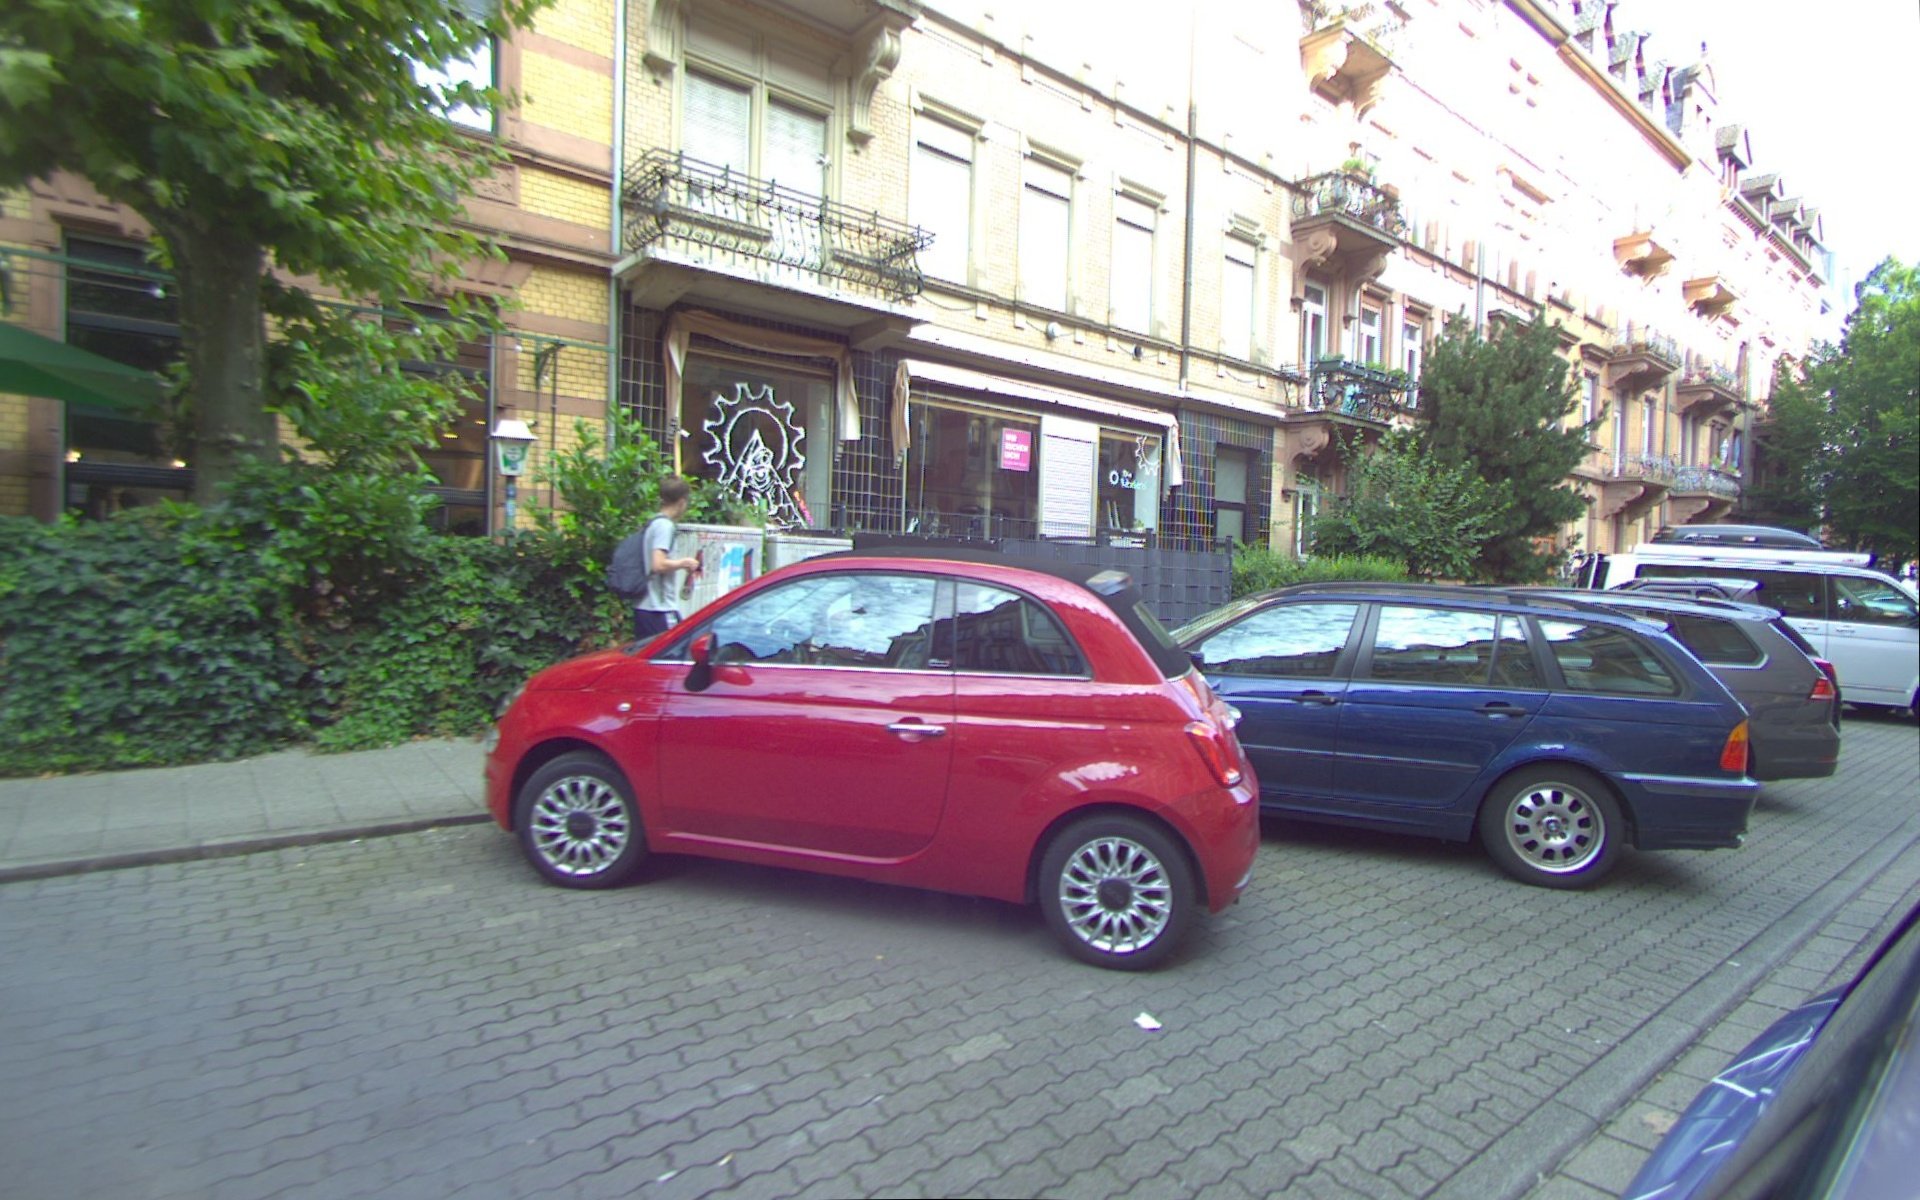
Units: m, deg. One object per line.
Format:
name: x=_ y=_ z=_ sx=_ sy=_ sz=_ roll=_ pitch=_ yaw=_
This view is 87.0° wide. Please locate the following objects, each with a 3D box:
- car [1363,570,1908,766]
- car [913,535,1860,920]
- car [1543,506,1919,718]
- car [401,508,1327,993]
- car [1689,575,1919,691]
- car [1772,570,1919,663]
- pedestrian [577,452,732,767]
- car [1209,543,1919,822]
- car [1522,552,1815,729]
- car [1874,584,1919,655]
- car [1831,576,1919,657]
car: x=6.231 y=0.544 z=9.832 sx=3.931 sy=1.477 sz=1.746 roll=3 pitch=2 yaw=10
car: x=2.133 y=0.517 z=6.089 sx=4.409 sy=1.482 sz=1.870 roll=5 pitch=2 yaw=17
car: x=10.800 y=0.111 z=13.235 sx=5.093 sy=2.434 sz=1.907 roll=3 pitch=2 yaw=19
car: x=-0.385 y=0.456 z=4.717 sx=3.665 sy=1.503 sz=1.734 roll=4 pitch=2 yaw=14
car: x=15.079 y=0.529 z=16.764 sx=4.396 sy=1.754 sz=1.990 roll=2 pitch=0 yaw=17
car: x=20.868 y=0.445 z=22.017 sx=1.777 sy=1.806 sz=4.650 roll=3 pitch=3 yaw=-40
pedestrian: x=-2.022 y=0.047 z=6.653 sx=0.709 sy=1.901 sz=0.842 roll=1 pitch=1 yaw=-35
car: x=4.312 y=0.488 z=7.930 sx=4.401 sy=1.495 sz=1.883 roll=5 pitch=2 yaw=12
car: x=8.078 y=0.403 z=11.777 sx=2.444 sy=1.686 sz=1.335 roll=6 pitch=2 yaw=25
car: x=26.337 y=0.596 z=25.836 sx=3.952 sy=1.762 sz=1.827 roll=4 pitch=2 yaw=21
car: x=24.172 y=0.473 z=24.384 sx=4.349 sy=1.844 sz=1.744 roll=4 pitch=3 yaw=20
